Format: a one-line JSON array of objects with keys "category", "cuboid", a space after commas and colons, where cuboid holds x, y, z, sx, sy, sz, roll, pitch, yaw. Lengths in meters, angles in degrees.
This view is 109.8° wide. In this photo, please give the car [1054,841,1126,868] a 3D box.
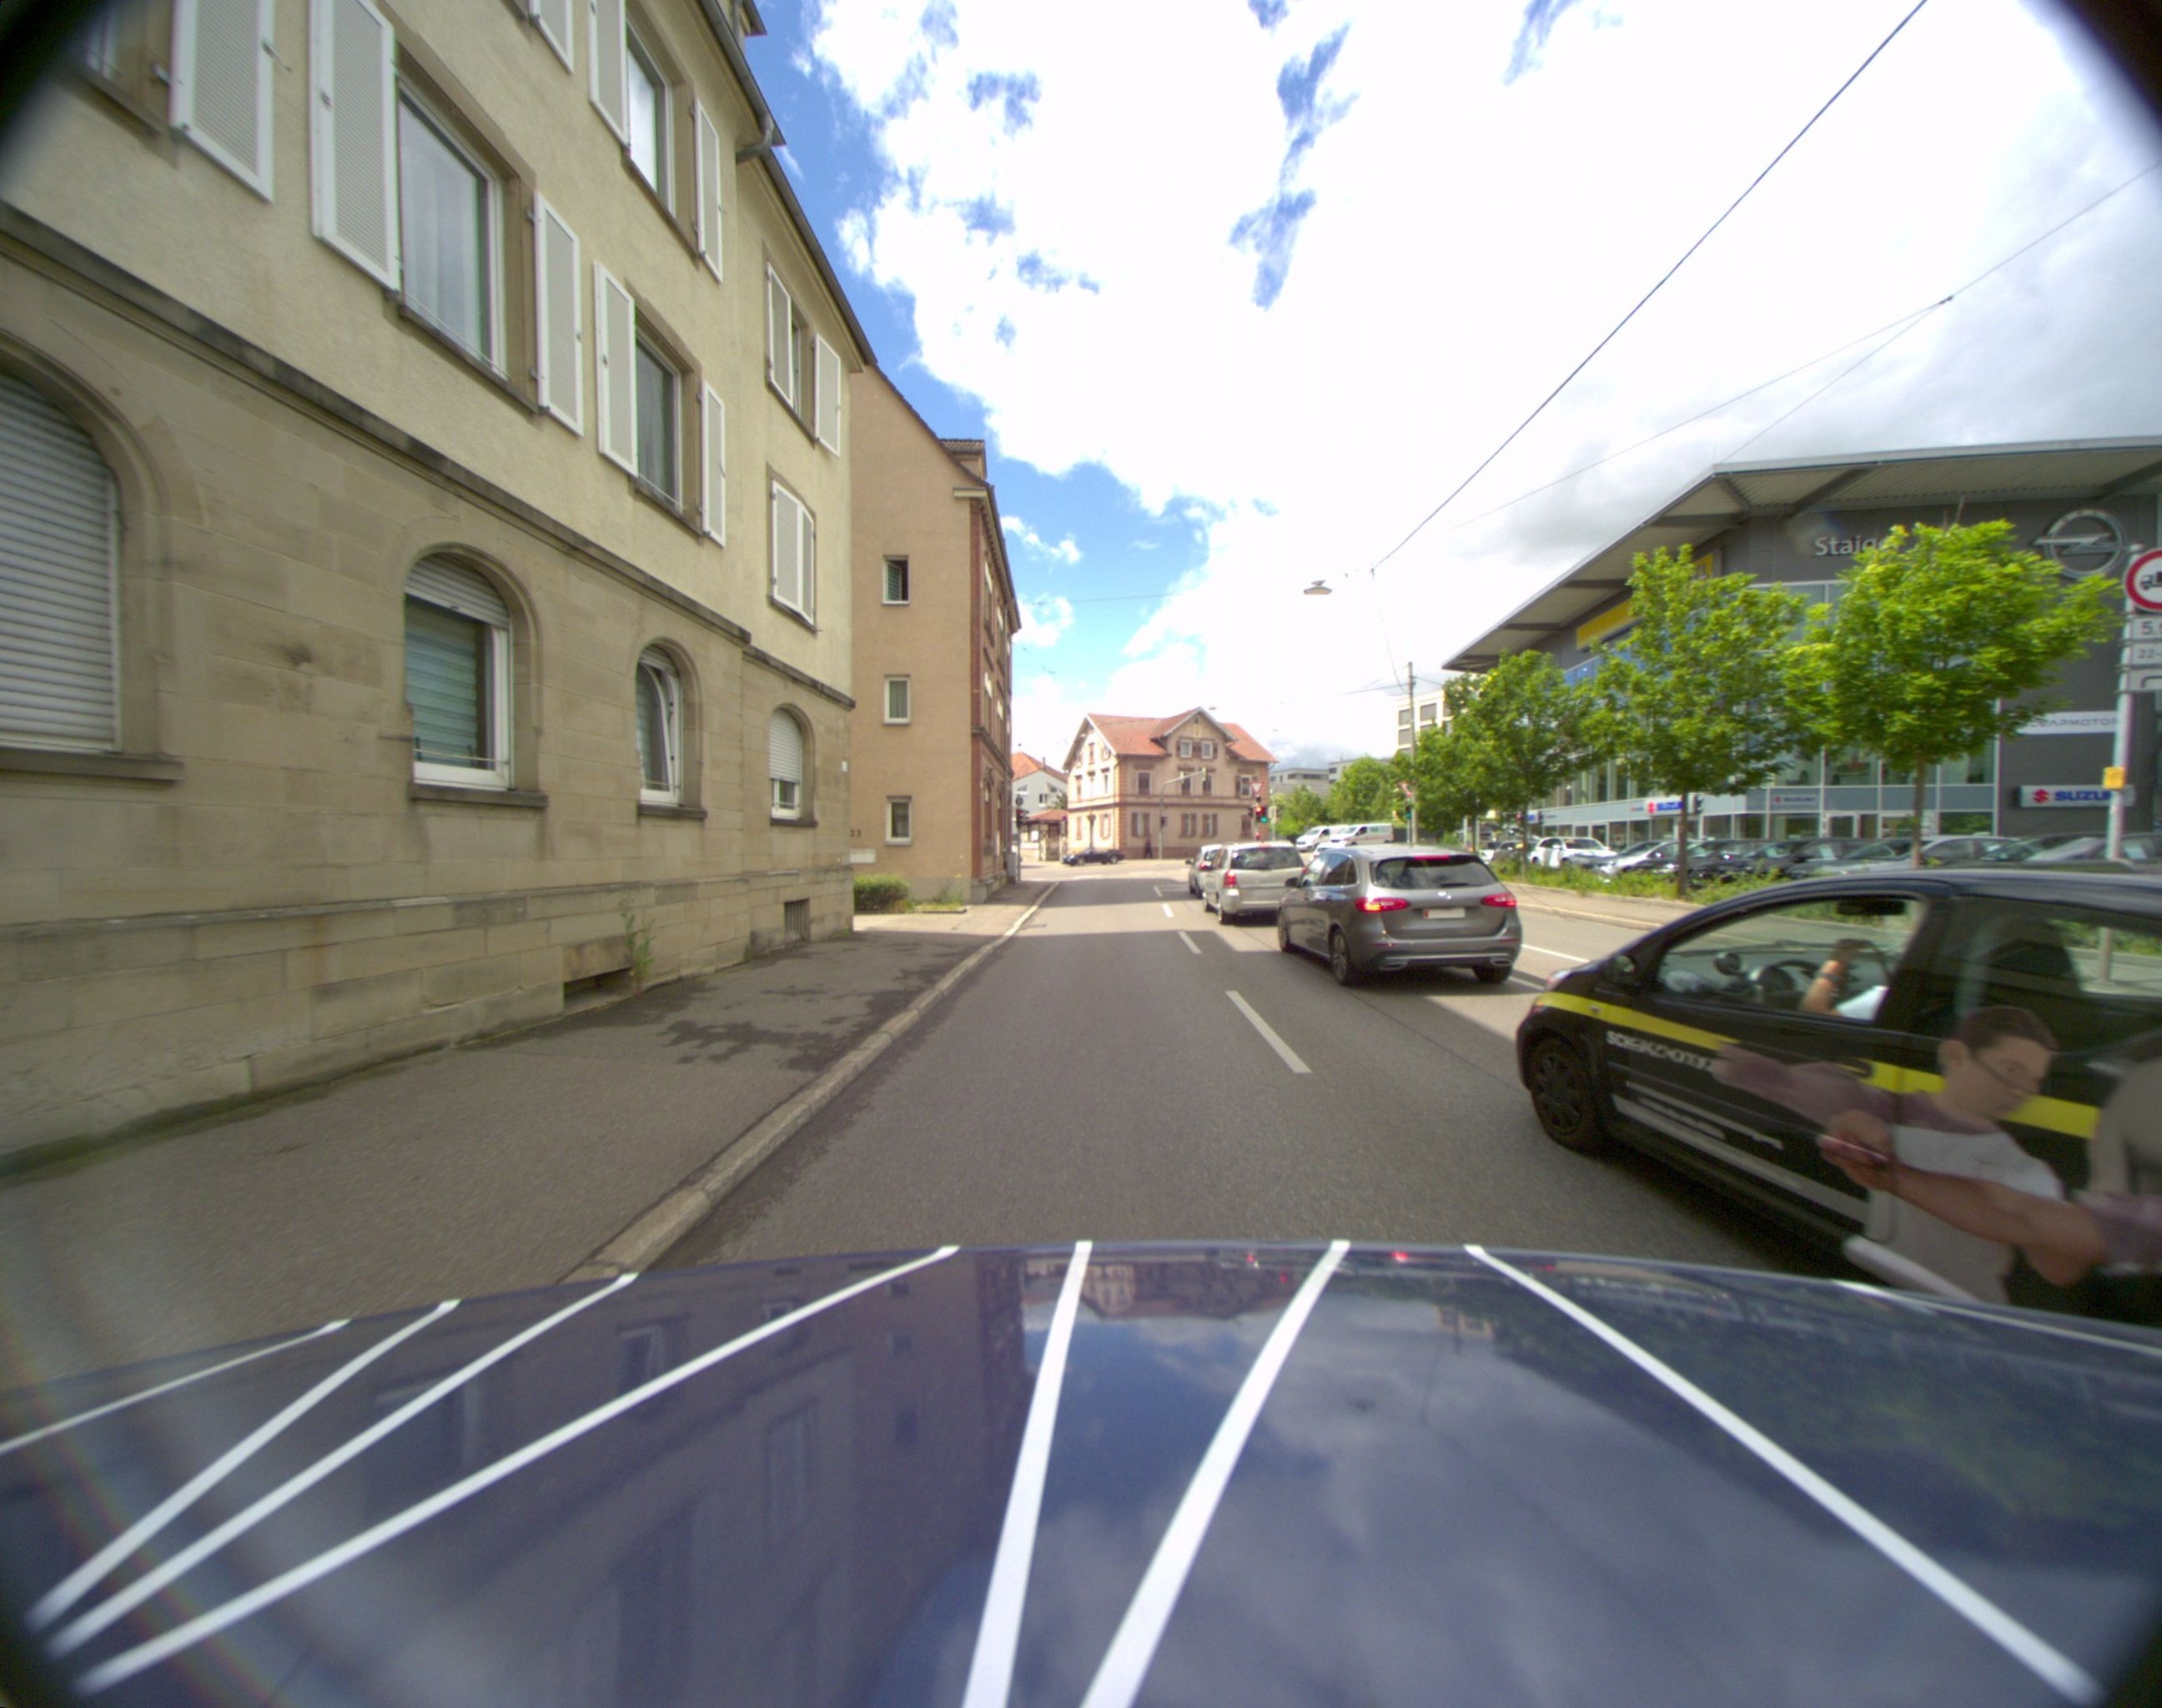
[{"category": "car", "cuboid": [0.628, 0.004, 51.170, 4.334, 1.458, 1.996, -4, 2, -23]}]

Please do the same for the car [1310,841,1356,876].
[{"category": "car", "cuboid": [12.024, 0.156, 36.514, 1.721, 1.488, 4.466, 1, 2, 14]}]

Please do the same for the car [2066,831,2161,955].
[{"category": "car", "cuboid": [14.904, 0.463, 9.092, 3.836, 1.488, 1.813, 0, 0, 1]}]

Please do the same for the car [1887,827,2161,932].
[{"category": "car", "cuboid": [15.408, 0.368, 11.723, 3.991, 1.488, 1.813, 0, 0, 1]}]

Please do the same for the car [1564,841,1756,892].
[{"category": "car", "cuboid": [16.537, 0.354, 21.874, 4.075, 1.386, 1.813, 0, 0, 5]}]

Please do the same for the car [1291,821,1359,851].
[{"category": "car", "cuboid": [18.950, -1.416, 59.039, 4.820, 2.000, 1.996, -4, 2, -22]}]

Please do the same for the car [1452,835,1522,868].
[{"category": "car", "cuboid": [20.504, -0.158, 38.553, 1.946, 1.466, 4.309, -2, 1, 12]}]

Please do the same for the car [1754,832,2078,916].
[{"category": "car", "cuboid": [15.545, 0.360, 14.336, 4.065, 1.488, 1.813, 0, 0, 1]}]

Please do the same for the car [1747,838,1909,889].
[{"category": "car", "cuboid": [20.947, 0.259, 21.400, 3.018, 1.365, 1.518, 0, 0, 2]}]

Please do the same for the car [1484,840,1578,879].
[{"category": "car", "cuboid": [19.989, 0.190, 33.969, 1.947, 1.554, 4.307, -3, 1, 6]}]

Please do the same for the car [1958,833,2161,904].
[{"category": "car", "cuboid": [20.300, 0.284, 15.381, 3.324, 1.365, 1.518, 0, 0, 1]}]

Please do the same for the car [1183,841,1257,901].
[{"category": "car", "cuboid": [4.129, 0.448, 23.095, 1.723, 1.572, 4.000, -3, 1, 4]}]

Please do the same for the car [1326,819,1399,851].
[{"category": "car", "cuboid": [20.837, -1.402, 56.262, 4.994, 1.981, 1.996, -4, 2, -23]}]

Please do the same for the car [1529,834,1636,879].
[{"category": "car", "cuboid": [19.291, 0.056, 29.449, 1.946, 1.554, 3.997, -2, 1, 9]}]

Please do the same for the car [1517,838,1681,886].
[{"category": "car", "cuboid": [16.567, 0.244, 24.469, 3.995, 1.488, 1.813, 0, 0, 5]}]

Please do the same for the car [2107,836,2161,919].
[{"category": "car", "cuboid": [19.501, 0.380, 12.443, 3.324, 1.365, 1.518, 0, 0, 1]}]

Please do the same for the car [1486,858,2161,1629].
[{"category": "car", "cuboid": [3.089, 0.830, 2.475, 1.723, 1.475, 3.322, -3, 1, 0]}]

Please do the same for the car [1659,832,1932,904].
[{"category": "car", "cuboid": [15.602, 0.302, 16.773, 4.289, 1.488, 1.813, 0, 0, 1]}]

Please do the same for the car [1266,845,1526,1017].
[{"category": "car", "cuboid": [3.591, 0.737, 9.538, 1.723, 1.572, 4.251, -3, 1, 4]}]

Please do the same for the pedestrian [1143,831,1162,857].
[{"category": "pedestrian", "cuboid": [5.338, -0.723, 56.570, 1.049, 1.854, 0.722, -5, 2, -28]}]

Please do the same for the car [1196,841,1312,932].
[{"category": "car", "cuboid": [3.511, 0.569, 16.165, 1.723, 1.572, 4.318, -3, 1, 4]}]

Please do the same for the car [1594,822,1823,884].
[{"category": "car", "cuboid": [15.614, -0.015, 19.077, 4.217, 1.488, 1.813, 0, 0, 1]}]
